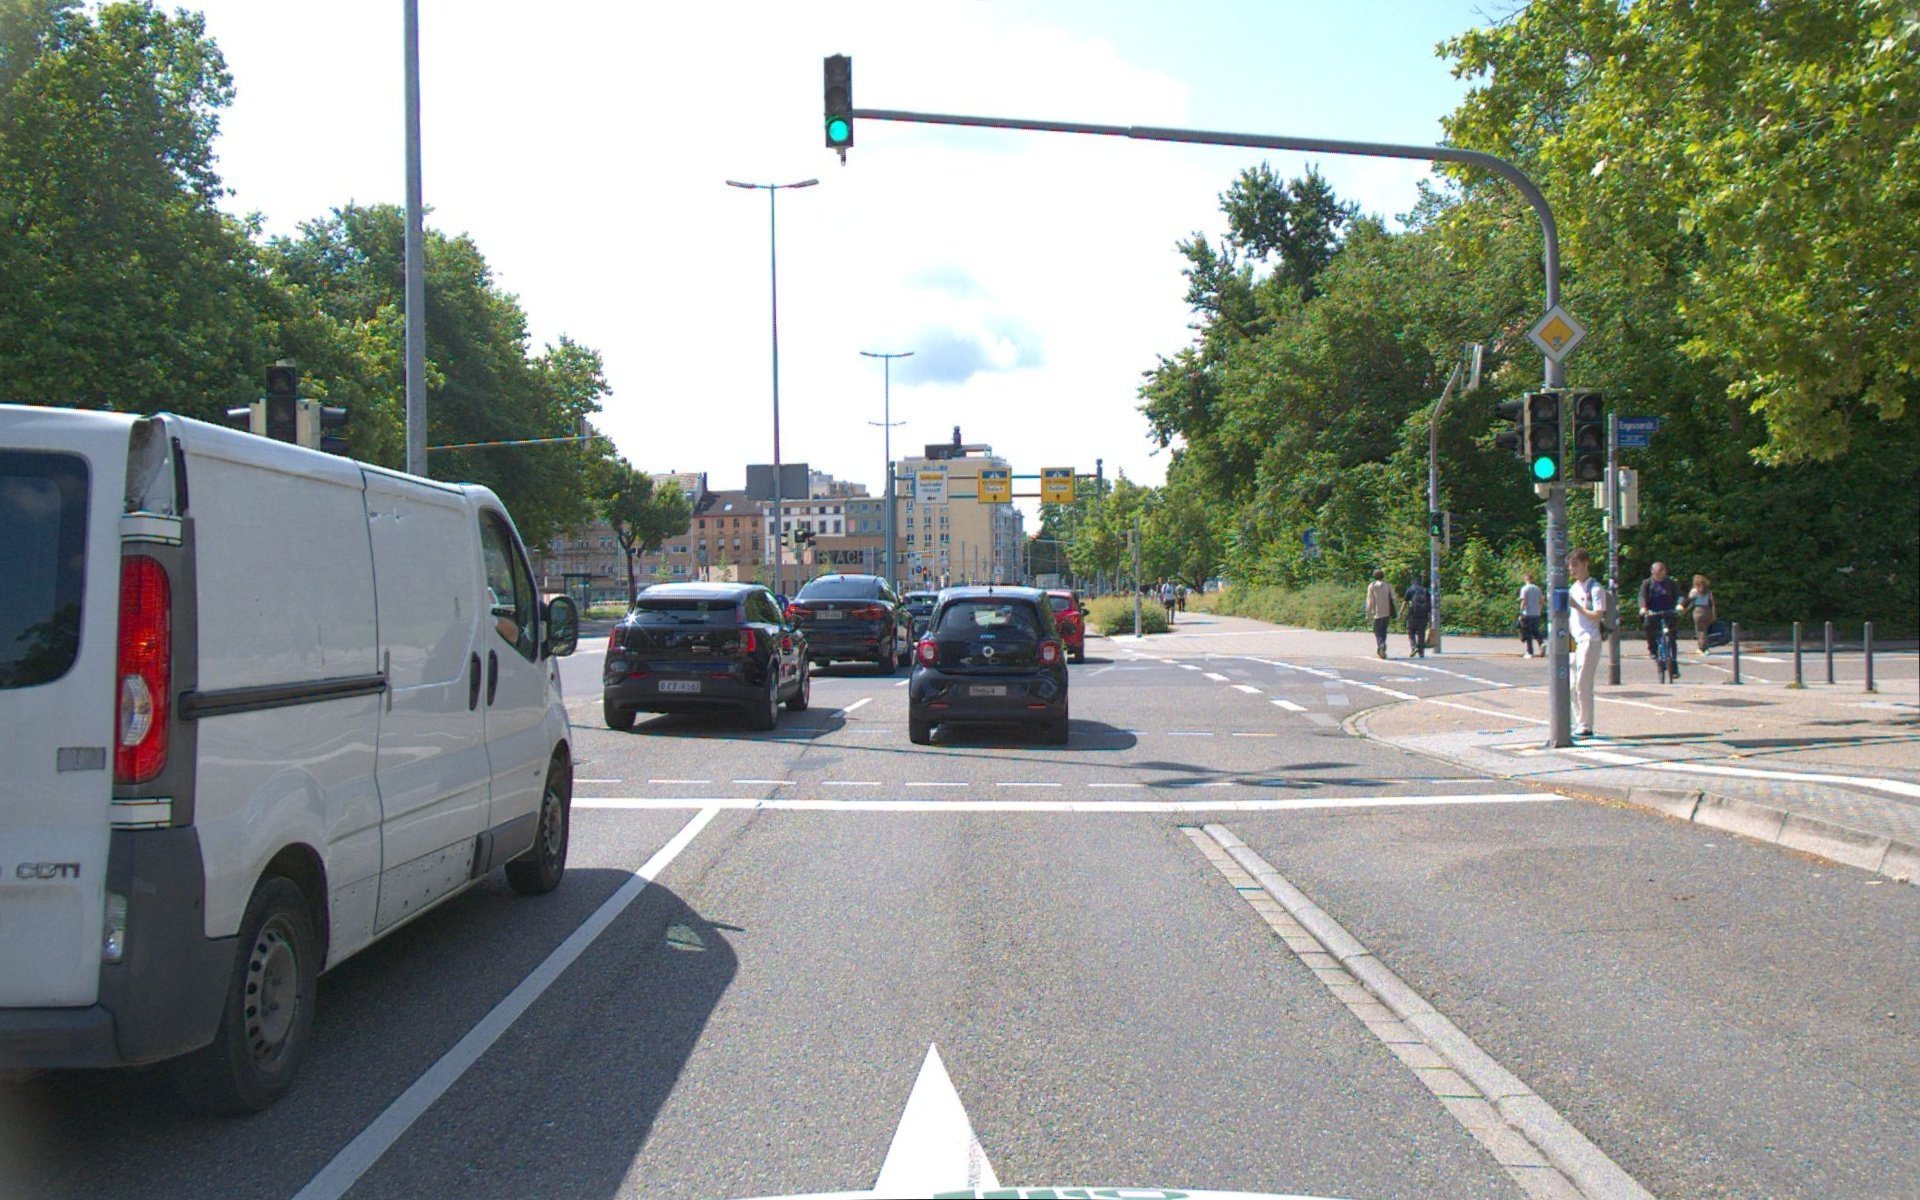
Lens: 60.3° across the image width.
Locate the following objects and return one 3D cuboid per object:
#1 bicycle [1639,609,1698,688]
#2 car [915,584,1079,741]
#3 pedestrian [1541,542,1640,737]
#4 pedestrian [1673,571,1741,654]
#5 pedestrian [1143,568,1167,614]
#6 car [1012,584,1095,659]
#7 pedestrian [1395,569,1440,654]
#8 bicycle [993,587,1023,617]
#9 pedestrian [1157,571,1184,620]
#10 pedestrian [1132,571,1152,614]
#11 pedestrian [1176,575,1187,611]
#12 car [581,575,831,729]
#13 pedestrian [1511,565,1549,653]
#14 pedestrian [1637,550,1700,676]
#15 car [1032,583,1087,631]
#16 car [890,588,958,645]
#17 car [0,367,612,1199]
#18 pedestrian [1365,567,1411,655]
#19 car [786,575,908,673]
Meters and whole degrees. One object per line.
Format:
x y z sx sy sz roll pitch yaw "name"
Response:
10.674 0.703 24.947 0.799 1.091 1.891 0 1 23 "bicycle"
0.401 0.600 17.821 1.578 1.511 3.518 0 0 1 "car"
6.144 0.375 16.121 0.589 1.832 0.603 -3 0 -37 "pedestrian"
15.550 0.237 34.443 0.839 1.654 1.018 -2 2 -11 "pedestrian"
8.227 -0.373 69.823 0.821 1.900 1.019 -1 0 -1 "pedestrian"
1.896 0.407 34.317 1.578 1.436 3.518 1 1 1 "car"
9.564 0.222 34.597 0.778 1.734 1.183 0 1 9 "pedestrian"
3.340 0.159 115.517 1.953 2.049 3.999 1 0 -1 "bicycle"
7.725 -0.169 60.623 0.833 1.730 0.931 -2 0 1 "pedestrian"
8.678 -0.367 78.957 0.821 2.003 0.861 -1 0 -1 "pedestrian"
12.183 -0.389 90.819 0.491 1.923 0.560 1 0 -1 "pedestrian"
-2.776 0.492 19.272 1.975 1.556 4.889 0 1 2 "car"
12.210 0.188 35.452 0.656 1.852 0.704 0 1 9 "pedestrian"
10.720 0.199 25.036 0.836 1.852 1.175 0 -1 23 "pedestrian"
3.126 0.196 52.491 1.578 1.436 3.518 1 1 1 "car"
-0.879 0.395 42.158 1.578 1.348 3.518 -1 1 1 "car"
-2.875 0.428 6.477 1.965 1.989 5.193 0 1 -1 "car"
8.634 0.209 33.395 0.778 1.734 1.183 0 1 9 "pedestrian"
-1.964 0.364 29.826 1.789 1.629 4.394 0 1 1 "car"
